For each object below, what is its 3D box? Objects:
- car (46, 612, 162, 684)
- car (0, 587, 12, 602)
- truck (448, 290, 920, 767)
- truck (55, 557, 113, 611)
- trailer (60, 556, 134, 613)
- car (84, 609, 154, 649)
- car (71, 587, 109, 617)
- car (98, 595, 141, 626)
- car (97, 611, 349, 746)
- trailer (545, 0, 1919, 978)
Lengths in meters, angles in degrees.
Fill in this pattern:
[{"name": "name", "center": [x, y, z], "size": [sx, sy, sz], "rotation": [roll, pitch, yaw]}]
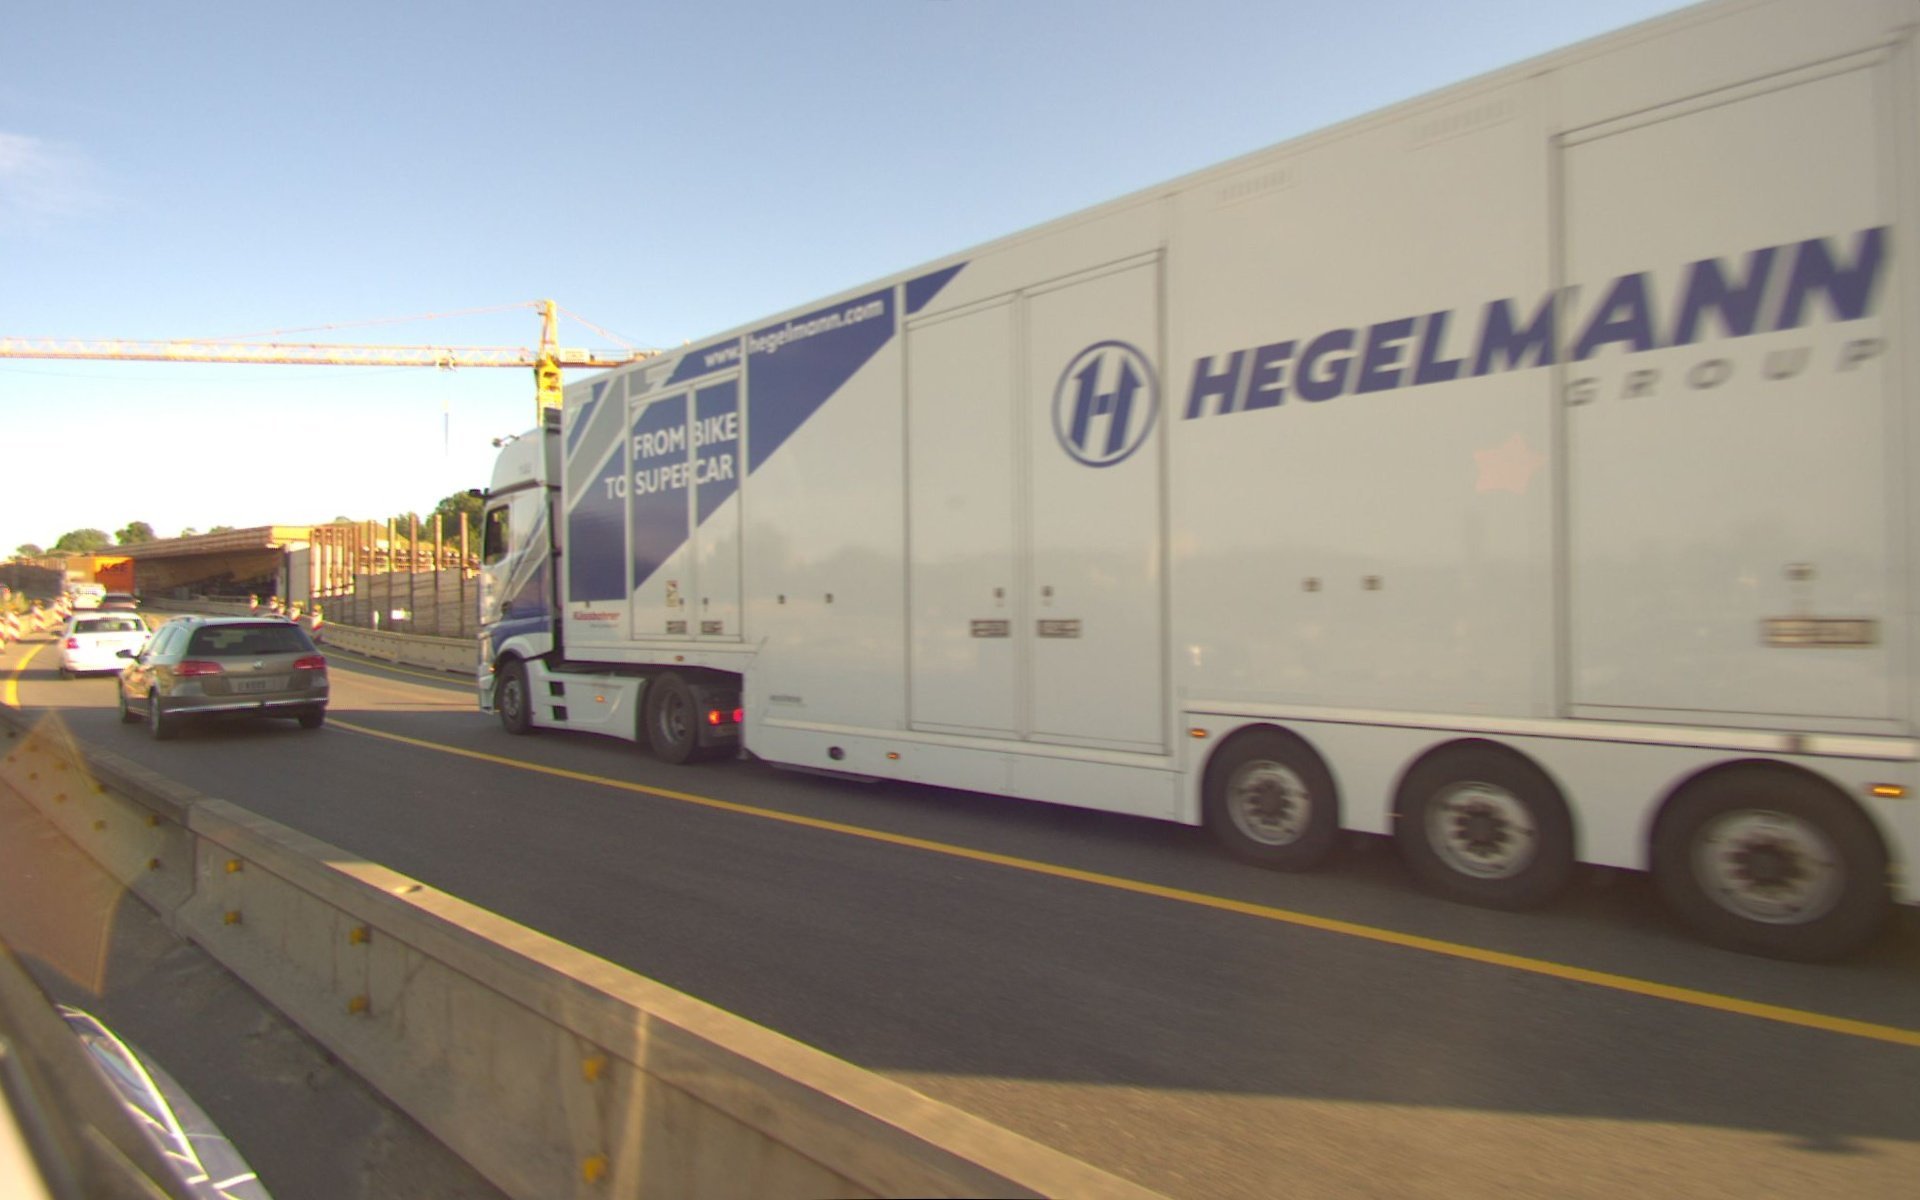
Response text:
[{"name": "car", "center": [-19.973, 1.031, 23.555], "size": [1.768, 1.500, 4.222], "rotation": [0, -1, -44]}, {"name": "car", "center": [-104.399, -0.584, 109.858], "size": [4.659, 1.612, 1.712], "rotation": [1, 1, 41]}, {"name": "truck", "center": [-3.534, -0.636, 12.009], "size": [6.049, 4.252, 2.525], "rotation": [-1, 1, 43]}, {"name": "truck", "center": [-77.263, -1.417, 89.216], "size": [8.326, 4.504, 2.558], "rotation": [1, 2, 40]}, {"name": "trailer", "center": [-73.285, -1.372, 85.778], "size": [14.127, 4.504, 2.558], "rotation": [1, 2, 40]}, {"name": "car", "center": [-32.608, 1.069, 39.190], "size": [1.768, 1.367, 4.639], "rotation": [-1, 1, -44]}, {"name": "car", "center": [-62.848, 0.089, 73.158], "size": [1.969, 2.029, 5.266], "rotation": [-1, 1, -40]}, {"name": "car", "center": [-47.690, 0.560, 57.393], "size": [1.767, 1.631, 4.881], "rotation": [-1, 1, -41]}, {"name": "car", "center": [-9.895, 0.921, 13.448], "size": [4.510, 1.494, 1.830], "rotation": [-1, -2, 42]}, {"name": "trailer", "center": [1.397, -0.706, 7.425], "size": [13.933, 4.245, 2.504], "rotation": [-1, 1, 43]}]
